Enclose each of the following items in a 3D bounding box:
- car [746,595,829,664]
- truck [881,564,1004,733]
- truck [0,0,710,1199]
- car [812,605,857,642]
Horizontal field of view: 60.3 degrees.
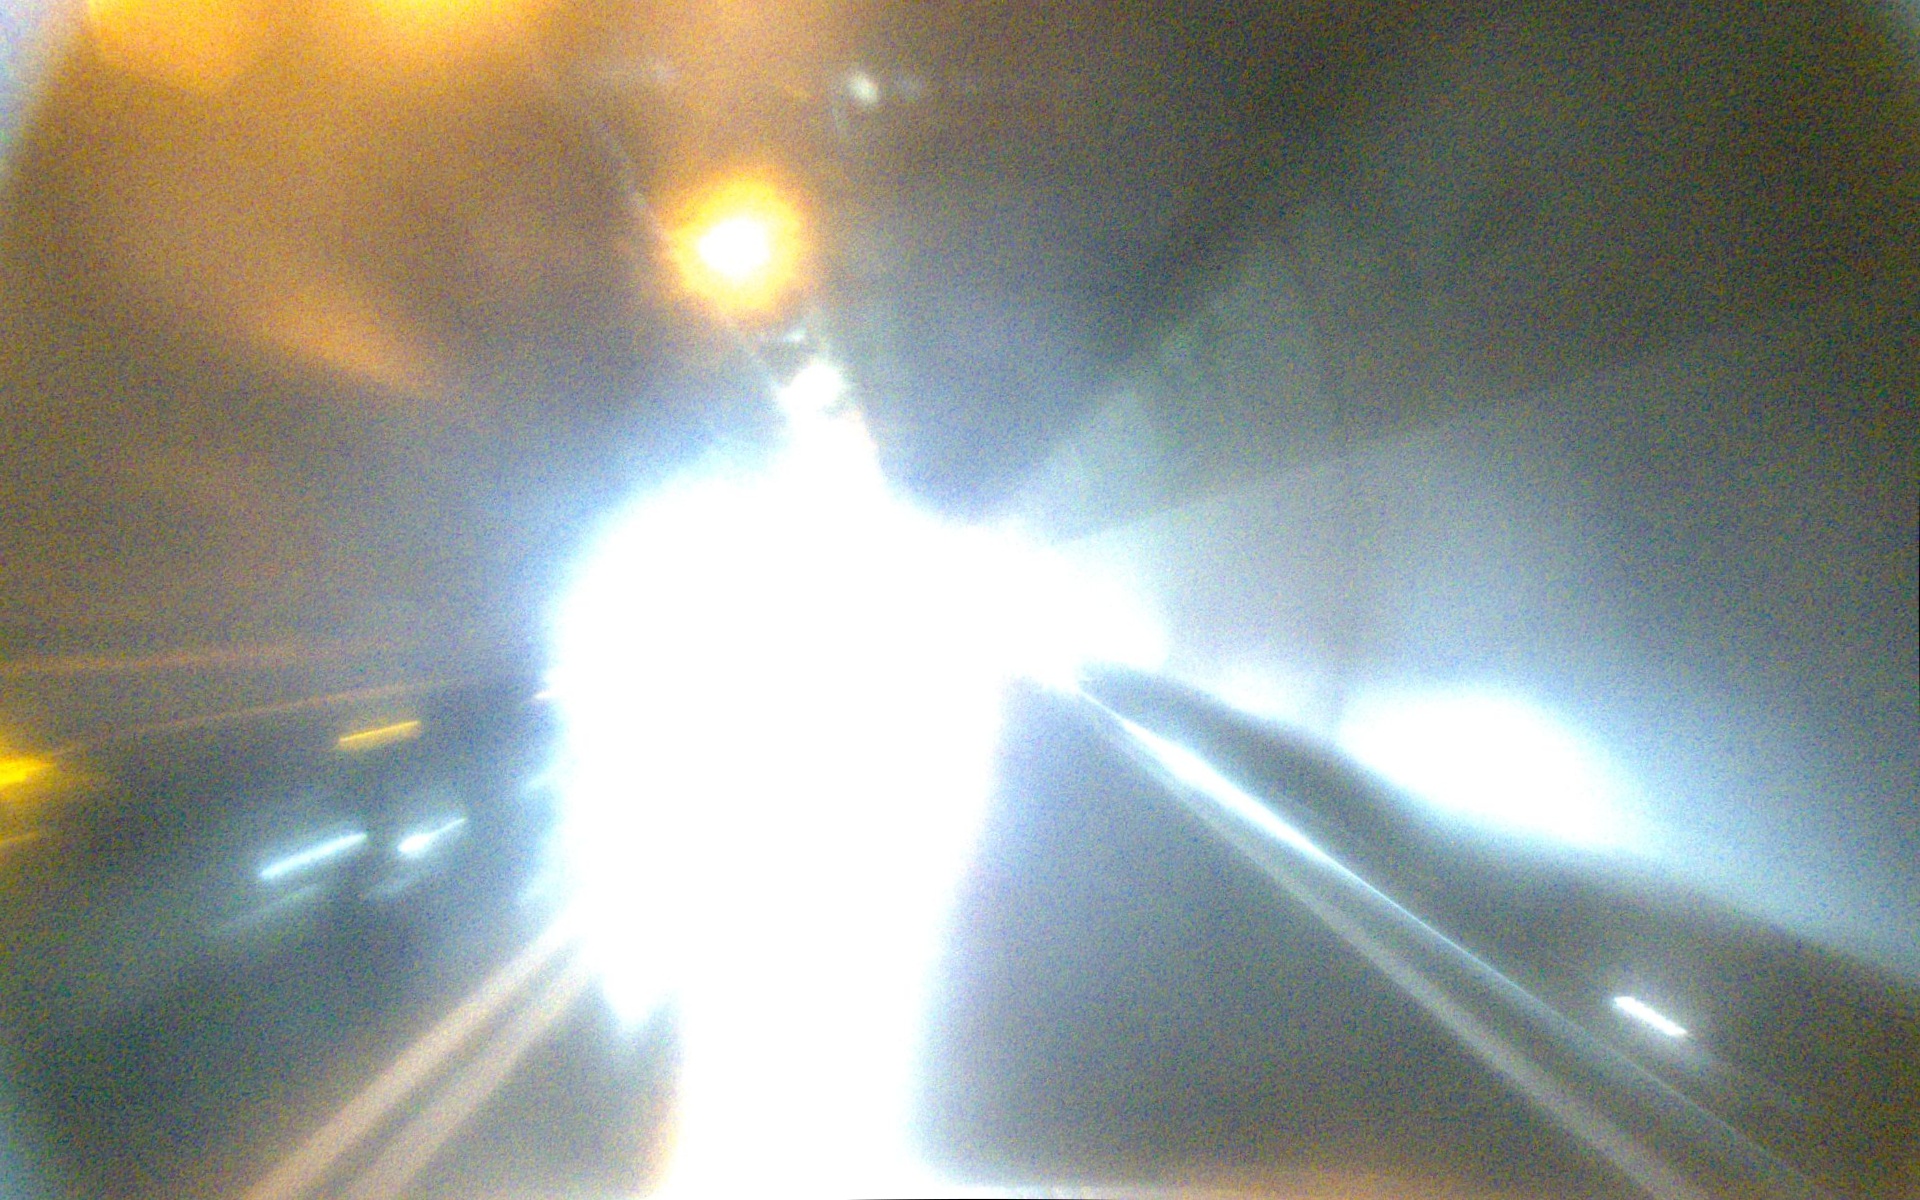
[{"bbox_3d":[-4.078,0.671,39.561,1.626,1.516,3.962,-1,0,-1],"label":"car"},{"bbox_3d":[-0.380,0.871,33.689,2.216,3.063,7.413,0,0,-1],"label":"truck"},{"bbox_3d":[-3.176,-0.694,5.219,2.561,4.281,15.139,-1,-1,-1],"label":"truck"},{"bbox_3d":[-5.645,1.036,75.021,1.776,1.508,4.200,-2,0,-1],"label":"car"}]
